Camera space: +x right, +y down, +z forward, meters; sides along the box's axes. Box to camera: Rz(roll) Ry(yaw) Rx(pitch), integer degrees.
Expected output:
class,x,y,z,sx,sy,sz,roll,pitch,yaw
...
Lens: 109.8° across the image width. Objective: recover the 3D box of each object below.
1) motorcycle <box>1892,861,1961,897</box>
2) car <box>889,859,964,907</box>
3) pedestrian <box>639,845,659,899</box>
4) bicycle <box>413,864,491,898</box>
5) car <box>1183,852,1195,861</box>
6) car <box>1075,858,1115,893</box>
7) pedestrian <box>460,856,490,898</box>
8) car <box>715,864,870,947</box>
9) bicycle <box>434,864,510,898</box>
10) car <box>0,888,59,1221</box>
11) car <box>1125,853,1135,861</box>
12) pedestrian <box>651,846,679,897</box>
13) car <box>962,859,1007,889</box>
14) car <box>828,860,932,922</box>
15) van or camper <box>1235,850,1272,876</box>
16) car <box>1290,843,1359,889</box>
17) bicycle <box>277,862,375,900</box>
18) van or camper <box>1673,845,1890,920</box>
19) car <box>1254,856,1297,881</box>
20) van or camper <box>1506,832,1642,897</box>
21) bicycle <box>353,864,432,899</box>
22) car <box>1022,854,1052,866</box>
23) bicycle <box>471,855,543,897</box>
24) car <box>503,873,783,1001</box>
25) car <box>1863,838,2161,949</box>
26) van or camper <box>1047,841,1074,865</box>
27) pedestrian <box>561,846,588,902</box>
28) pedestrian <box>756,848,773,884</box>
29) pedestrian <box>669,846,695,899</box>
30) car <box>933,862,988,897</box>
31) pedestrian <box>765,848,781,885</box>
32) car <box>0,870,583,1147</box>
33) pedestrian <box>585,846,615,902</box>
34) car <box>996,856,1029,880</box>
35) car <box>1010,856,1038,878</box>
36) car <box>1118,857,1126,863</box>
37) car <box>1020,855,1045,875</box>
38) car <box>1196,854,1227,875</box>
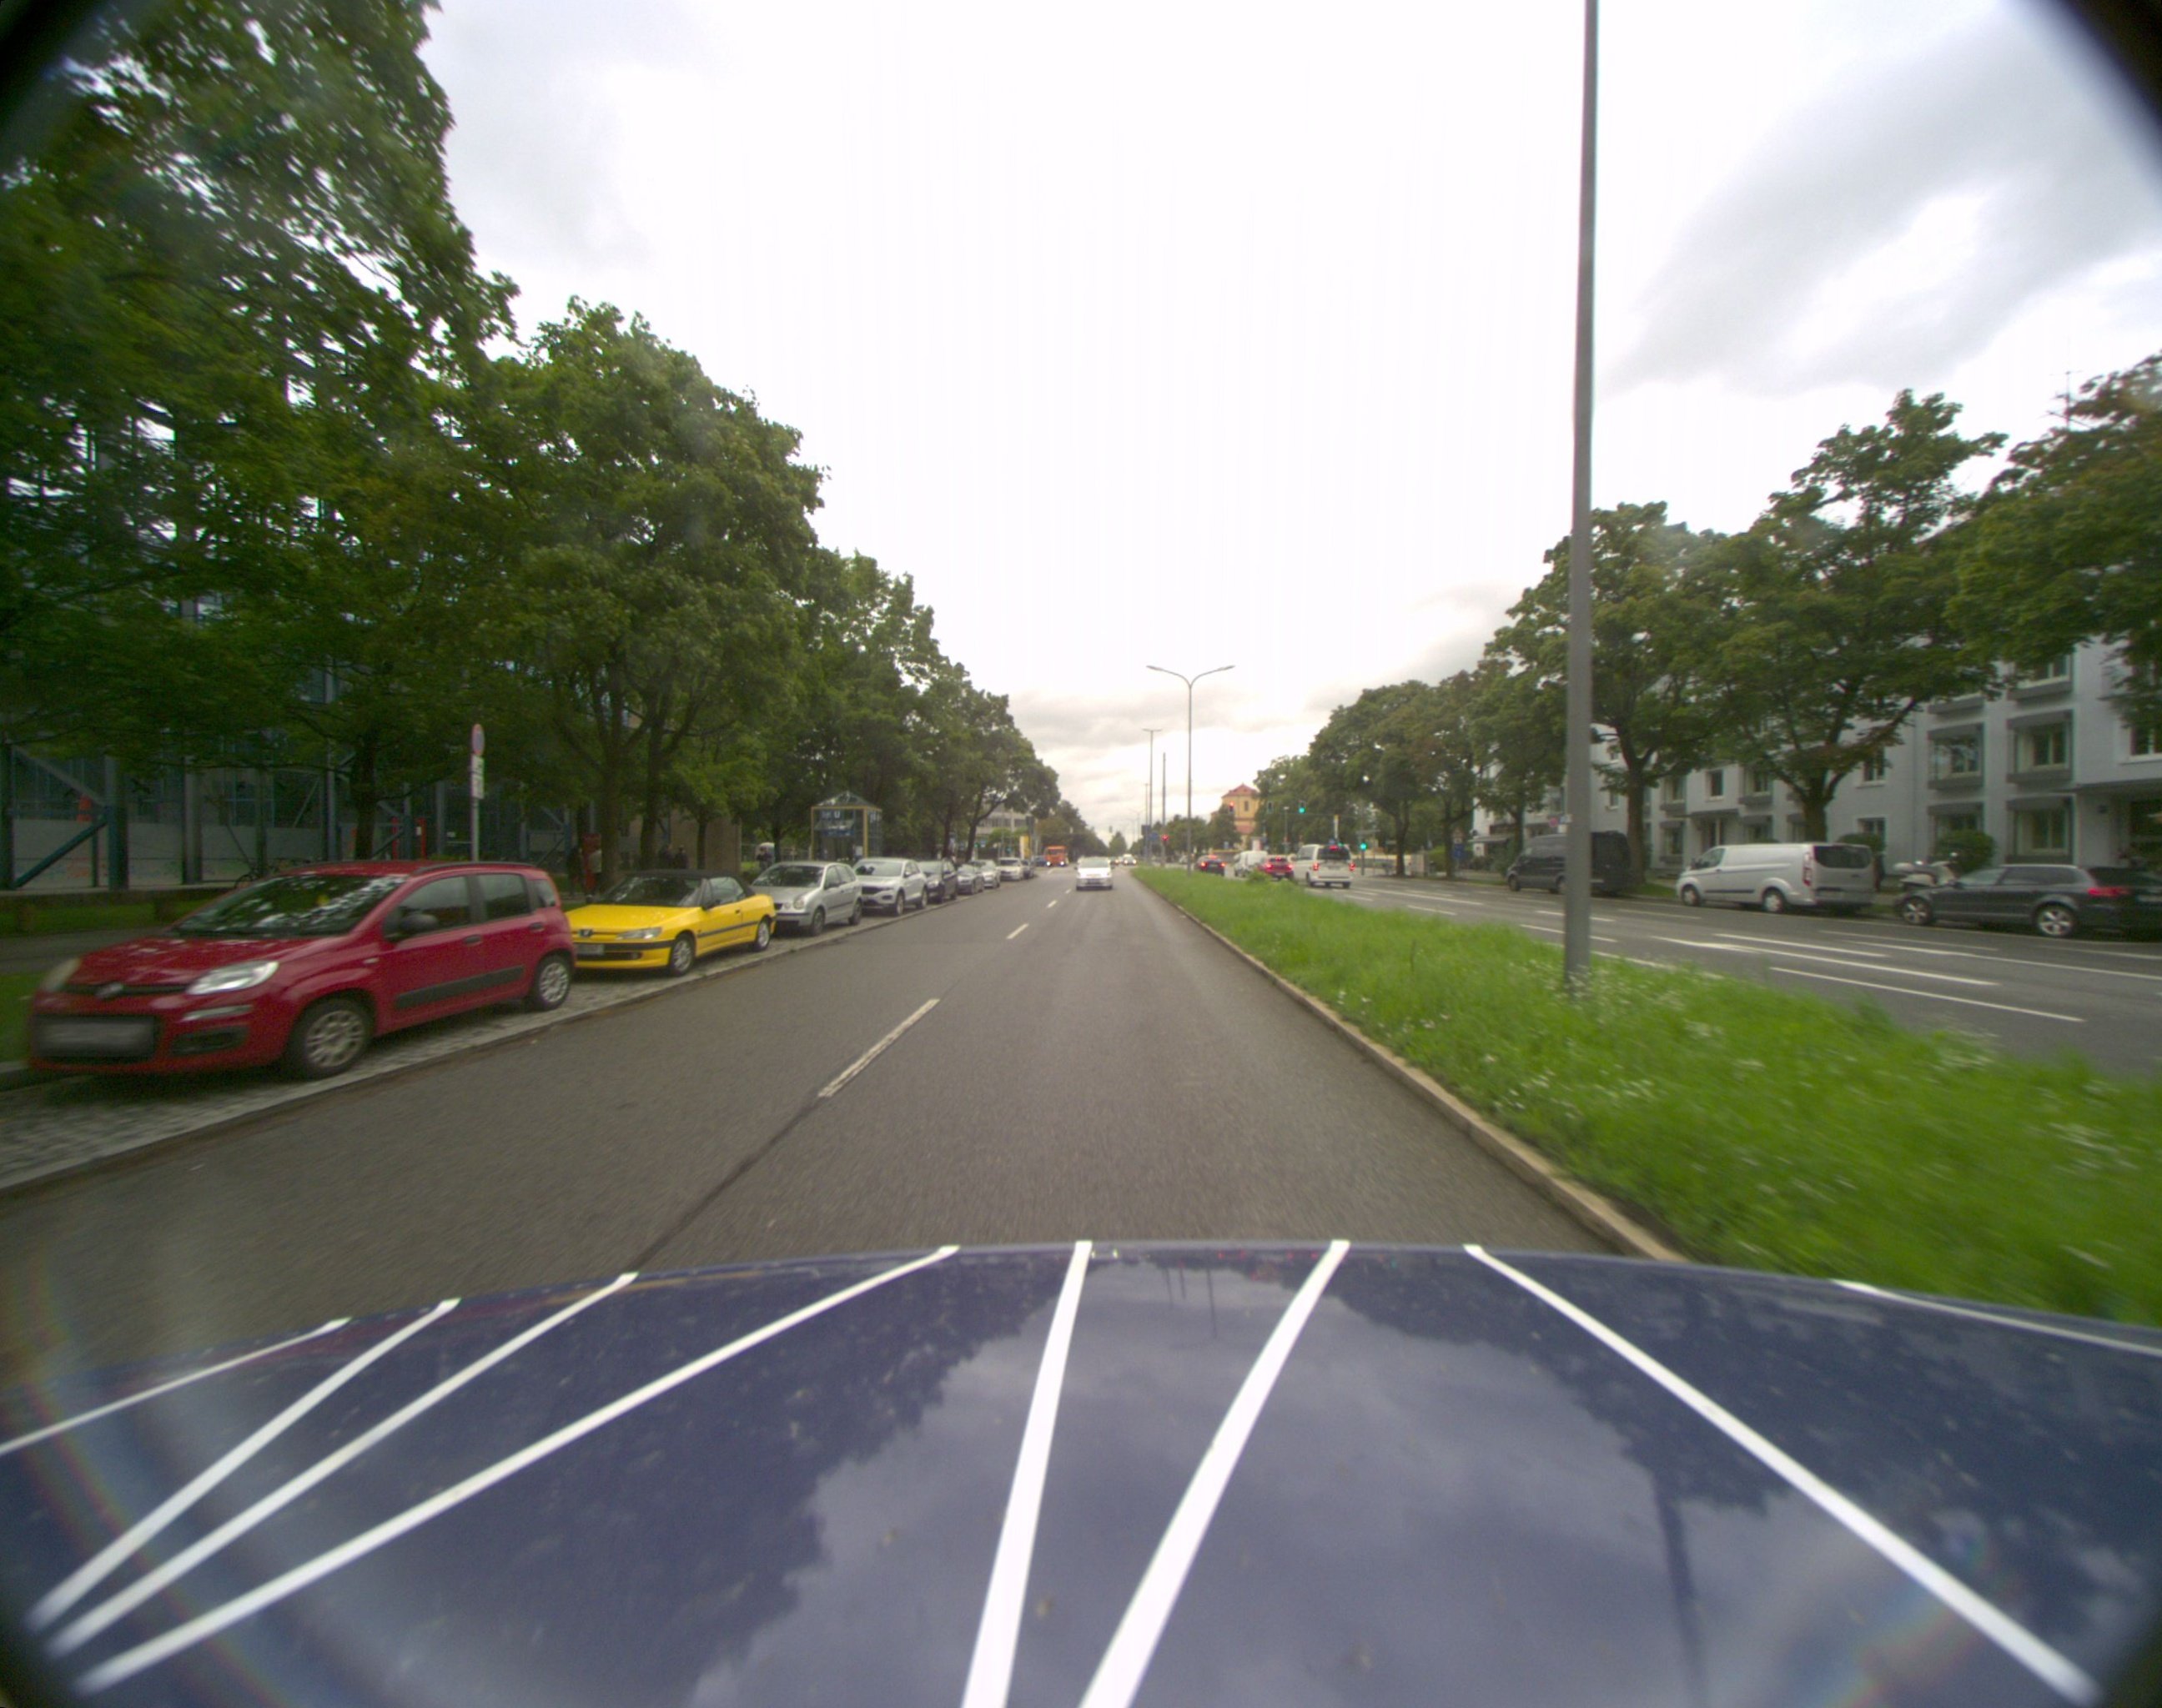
class,x,y,z,sx,sy,sz,roll,pitch,yaw
motorcycle,28.190,0.822,25.337,1.813,1.164,0.464,0,1,-2
car,-5.291,0.951,26.474,1.682,1.497,3.735,0,0,2
pedestrian,-13.636,0.557,23.990,0.433,1.680,0.349,0,1,-3
bicycle,-18.596,0.771,22.519,0.512,0.935,2.141,0,0,0
car,23.036,0.476,161.864,2.145,1.878,4.000,0,0,1
car,0.666,0.891,33.679,1.679,1.433,3.735,0,0,2
pedestrian,-17.597,0.665,22.069,0.506,1.172,0.426,2,1,1
car,-5.845,0.975,15.924,1.626,1.466,3.896,0,0,2
bicycle,-18.062,0.784,22.592,0.512,0.935,2.141,0,0,0
car,-6.062,0.962,1.511,1.865,1.581,4.602,0,0,-1
car,7.864,0.526,121.503,1.590,1.259,3.735,0,0,2
pedestrian,-13.977,0.580,25.547,0.612,1.680,0.611,2,1,-3
car,-4.716,0.958,37.618,1.590,1.395,3.735,0,0,2
car,-5.494,0.947,21.292,1.682,1.522,4.096,0,0,2
van or camper,12.131,0.597,53.614,1.795,1.787,4.125,0,0,2
car,11.402,0.529,35.917,1.944,1.986,4.704,0,0,2
bicycle,-20.577,0.722,20.773,0.571,0.935,2.064,0,1,0
van or camper,19.831,0.722,21.881,2.025,1.930,4.704,0,0,2
car,11.522,0.830,45.222,1.795,1.440,3.672,0,0,2
van or camper,20.116,0.390,31.383,2.054,2.472,5.548,0,0,1
bicycle,-19.436,0.760,21.510,0.618,0.935,1.762,0,0,0
car,-6.242,0.823,108.262,1.994,1.724,4.598,1,0,29
bicycle,-17.129,0.630,22.730,0.512,1.185,2.141,0,1,0
car,-5.985,1.037,11.051,1.627,1.373,4.194,1,0,0
car,19.516,0.701,15.853,1.801,1.986,4.547,0,0,2
van or camper,-3.042,-0.112,117.315,3.321,3.533,10.898,0,0,3
pedestrian,-14.956,0.583,22.436,0.507,1.619,0.426,2,1,-3
pedestrian,-15.004,0.563,36.014,0.528,1.713,0.559,2,1,-3
pedestrian,-13.403,0.610,25.536,0.528,1.713,0.660,2,1,-3
car,-5.001,1.031,31.990,1.590,1.310,3.735,0,0,2
pedestrian,-14.839,0.595,36.661,0.528,1.713,0.559,2,1,-3
car,-6.107,0.959,6.329,1.555,1.564,3.624,0,0,-1
pedestrian,-14.275,0.591,22.553,0.612,1.632,0.434,2,1,2
car,-4.380,0.890,49.074,1.590,1.495,3.735,0,0,2
car,-4.037,0.927,54.257,1.590,1.495,3.735,0,0,2
car,8.071,1.151,150.574,1.590,1.259,3.735,0,0,2
car,-3.781,0.848,60.243,1.590,1.495,3.735,0,0,2
car,9.526,0.743,55.662,1.761,1.440,3.672,0,0,2
